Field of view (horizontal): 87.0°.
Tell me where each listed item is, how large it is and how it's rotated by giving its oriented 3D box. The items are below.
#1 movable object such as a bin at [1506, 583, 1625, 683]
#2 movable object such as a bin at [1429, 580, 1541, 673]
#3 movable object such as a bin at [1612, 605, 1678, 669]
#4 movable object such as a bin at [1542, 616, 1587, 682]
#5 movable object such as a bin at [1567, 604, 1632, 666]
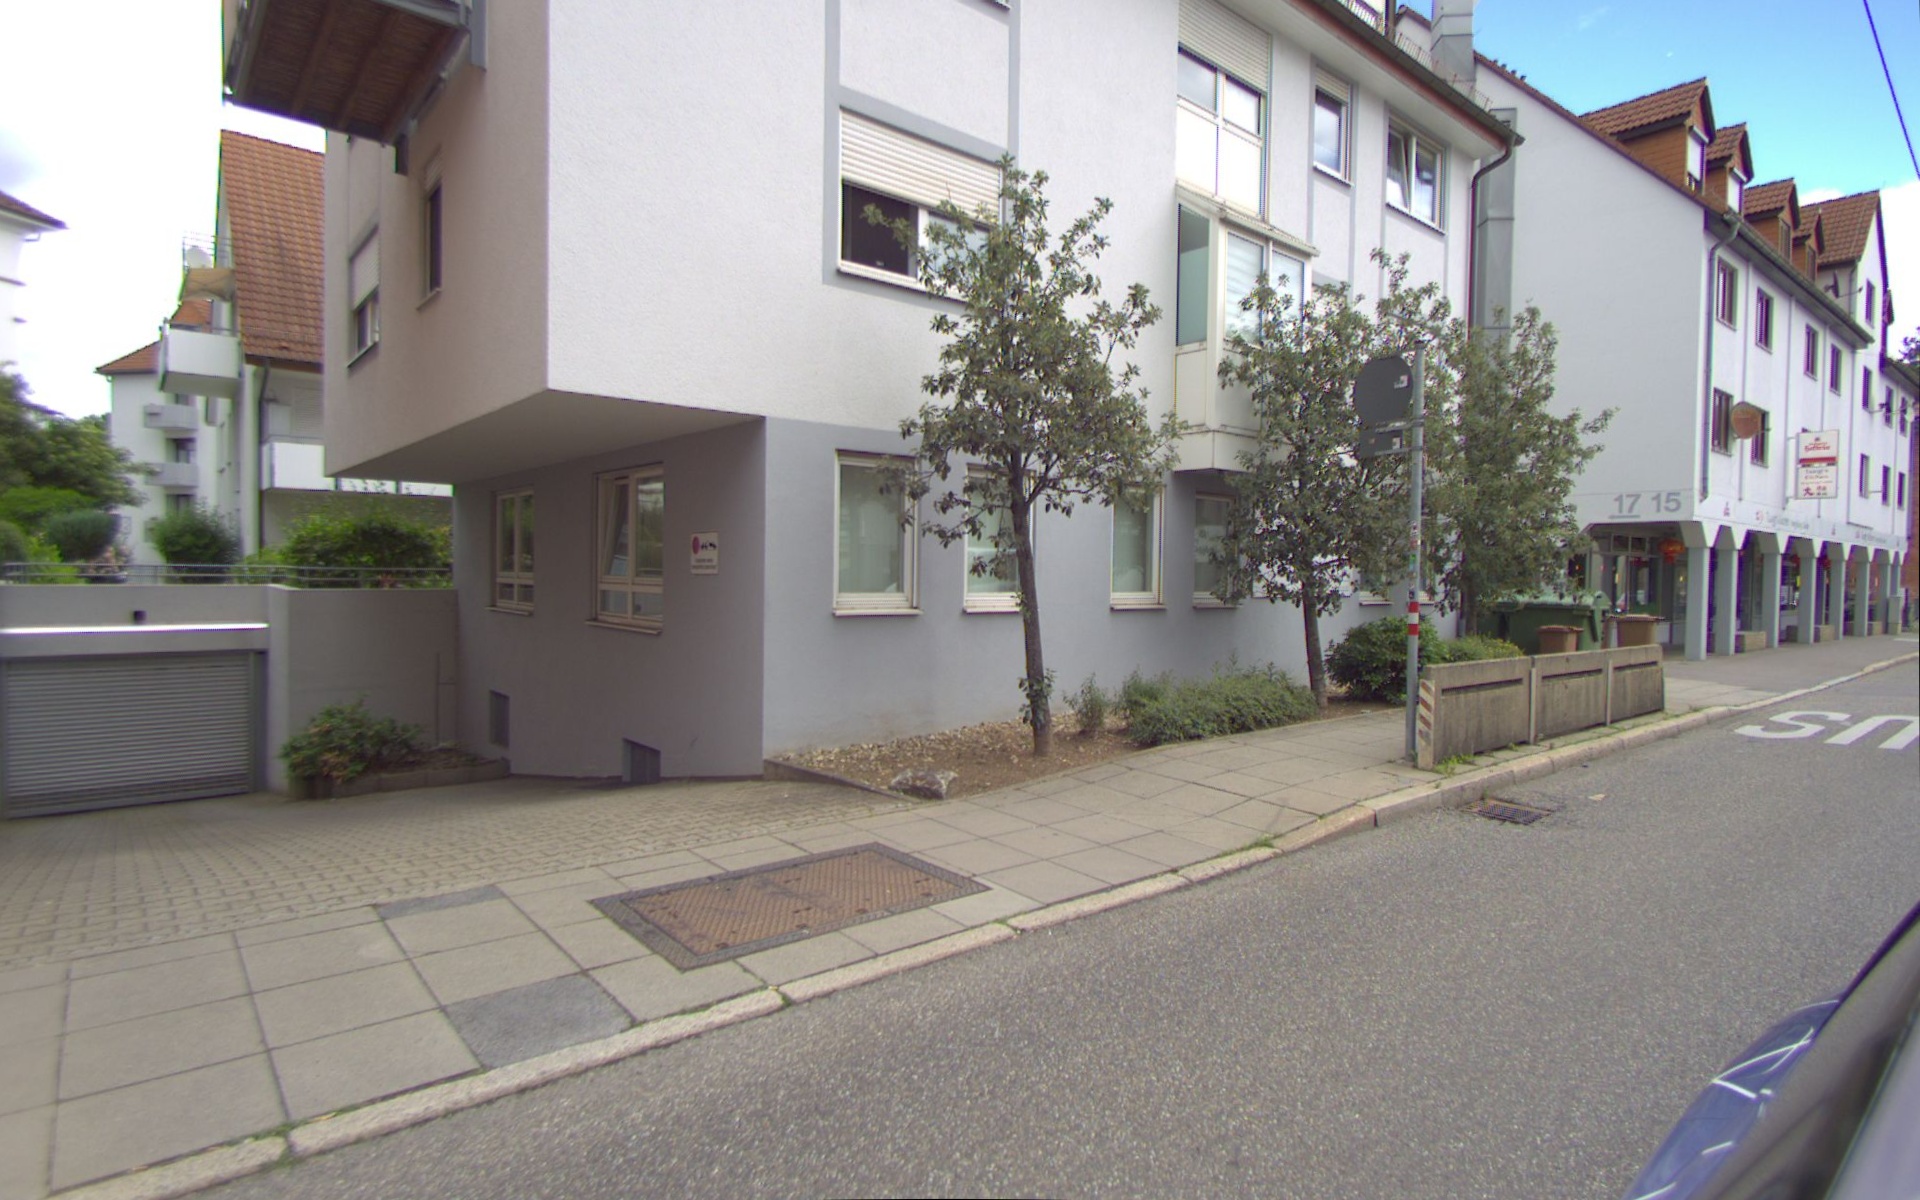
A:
[{"bbox_3d":[9.377,0.473,15.689,1.141,1.435,1.270,0,1,-40],"label":"movable object such as a bin"},{"bbox_3d":[8.808,0.410,16.988,1.284,1.452,1.270,0,2,-40],"label":"movable object such as a bin"},{"bbox_3d":[12.308,0.645,18.190,0.953,1.080,0.685,0,1,-37],"label":"movable object such as a bin"},{"bbox_3d":[8.938,0.716,14.964,0.457,0.932,0.431,0,1,-40],"label":"movable object such as a bin"},{"bbox_3d":[11.862,0.630,18.771,0.953,1.092,0.700,0,1,-37],"label":"movable object such as a bin"}]
